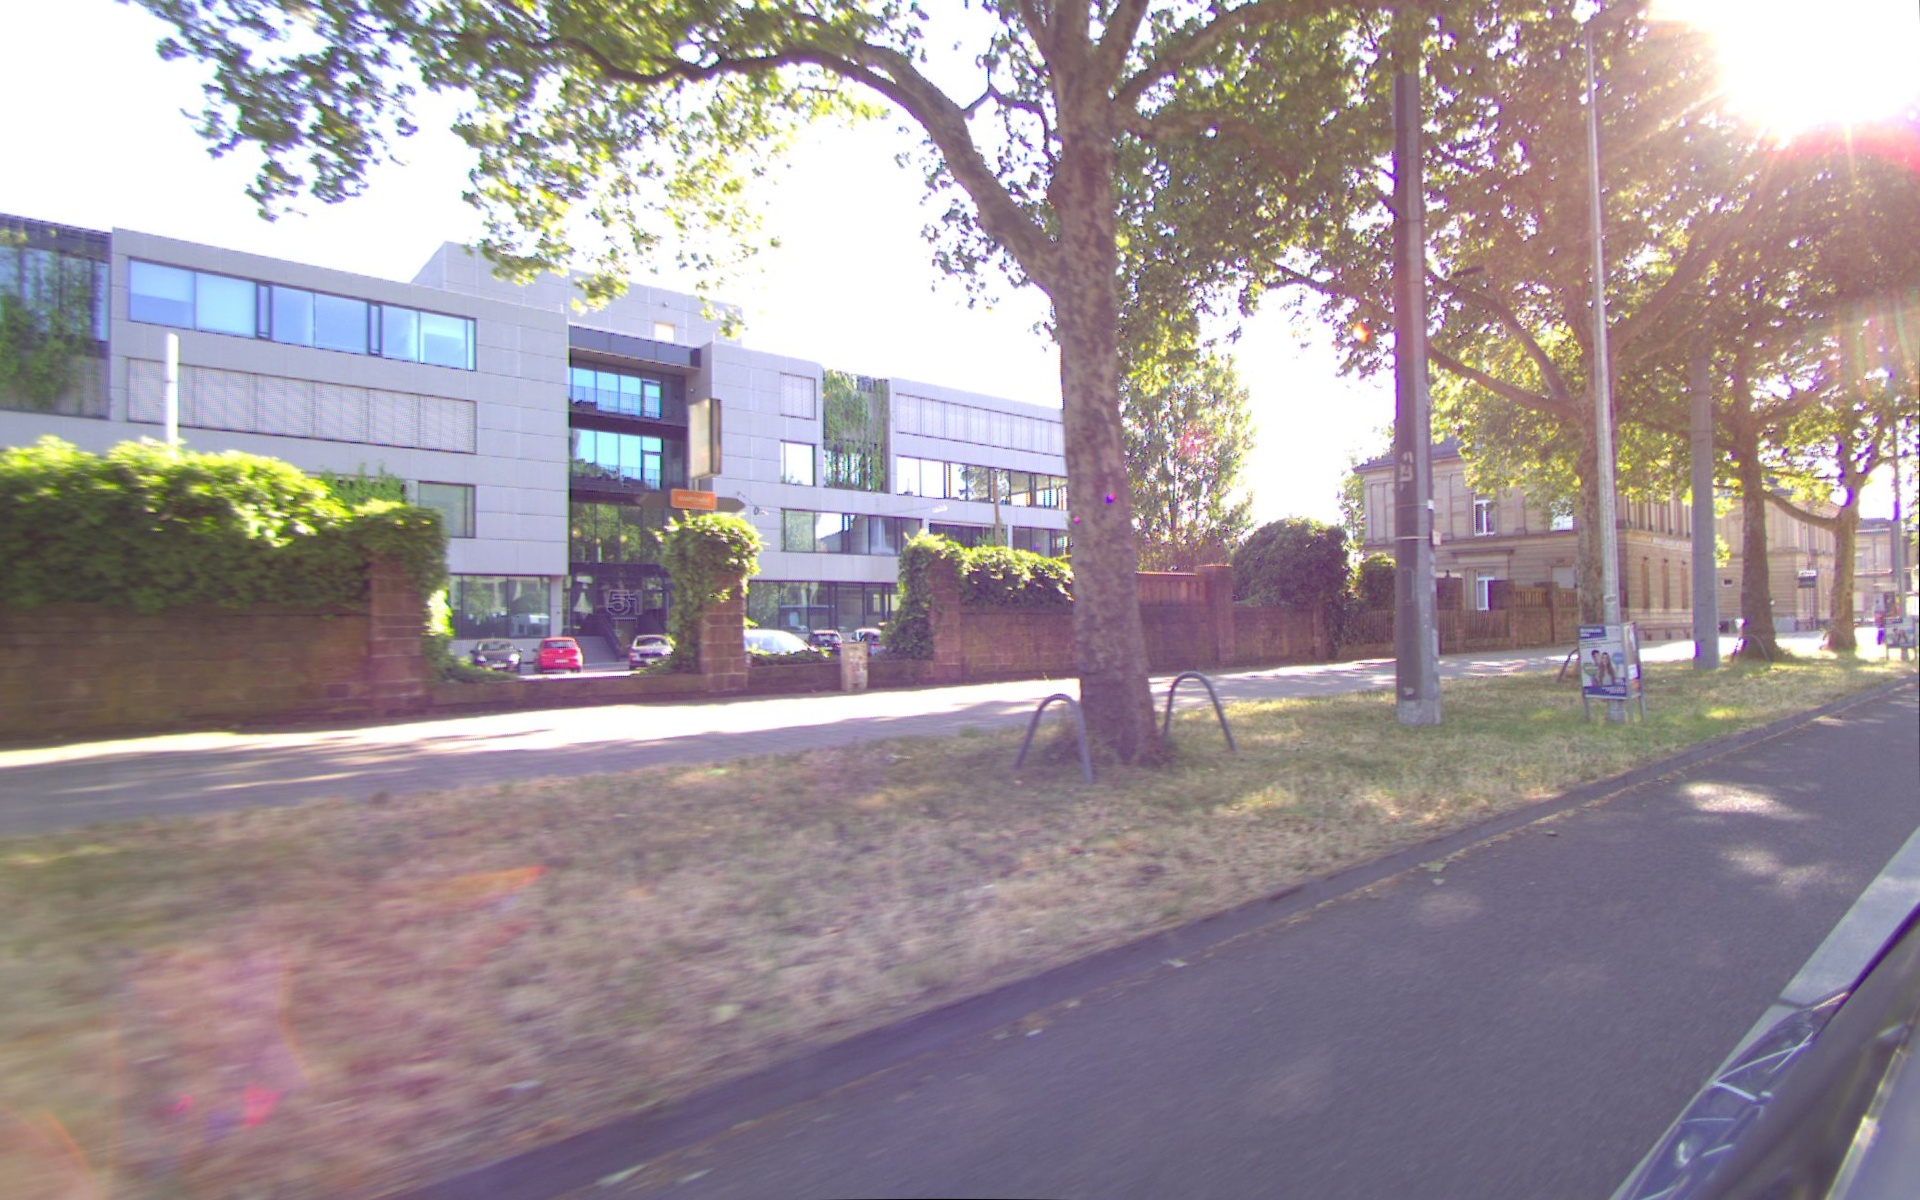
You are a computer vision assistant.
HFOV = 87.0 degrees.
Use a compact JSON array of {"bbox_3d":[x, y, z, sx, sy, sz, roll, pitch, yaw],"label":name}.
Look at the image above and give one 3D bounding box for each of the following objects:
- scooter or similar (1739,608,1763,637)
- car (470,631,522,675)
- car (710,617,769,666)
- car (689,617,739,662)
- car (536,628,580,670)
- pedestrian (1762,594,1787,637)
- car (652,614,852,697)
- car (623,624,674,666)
[{"bbox_3d":[33.503,0.952,42.864,0.718,1.170,0.748,0,0,43],"label":"scooter or similar"},{"bbox_3d":[-18.300,2.059,39.999,1.615,1.584,3.722,-1,-1,-21],"label":"car"},{"bbox_3d":[-8.896,1.617,40.579,1.930,1.839,4.374,-1,-1,-18],"label":"car"},{"bbox_3d":[-11.080,1.725,45.325,1.930,1.839,4.374,-1,-1,-17],"label":"car"},{"bbox_3d":[-16.497,1.982,41.507,1.615,1.584,3.672,-1,-1,-22],"label":"car"},{"bbox_3d":[34.249,0.637,42.540,0.769,1.766,0.784,0,0,43],"label":"pedestrian"},{"bbox_3d":[-4.373,1.093,21.006,4.099,1.541,2.011,-2,-1,41],"label":"car"},{"bbox_3d":[-13.385,1.877,43.354,1.757,1.667,4.373,-1,-1,-21],"label":"car"}]
